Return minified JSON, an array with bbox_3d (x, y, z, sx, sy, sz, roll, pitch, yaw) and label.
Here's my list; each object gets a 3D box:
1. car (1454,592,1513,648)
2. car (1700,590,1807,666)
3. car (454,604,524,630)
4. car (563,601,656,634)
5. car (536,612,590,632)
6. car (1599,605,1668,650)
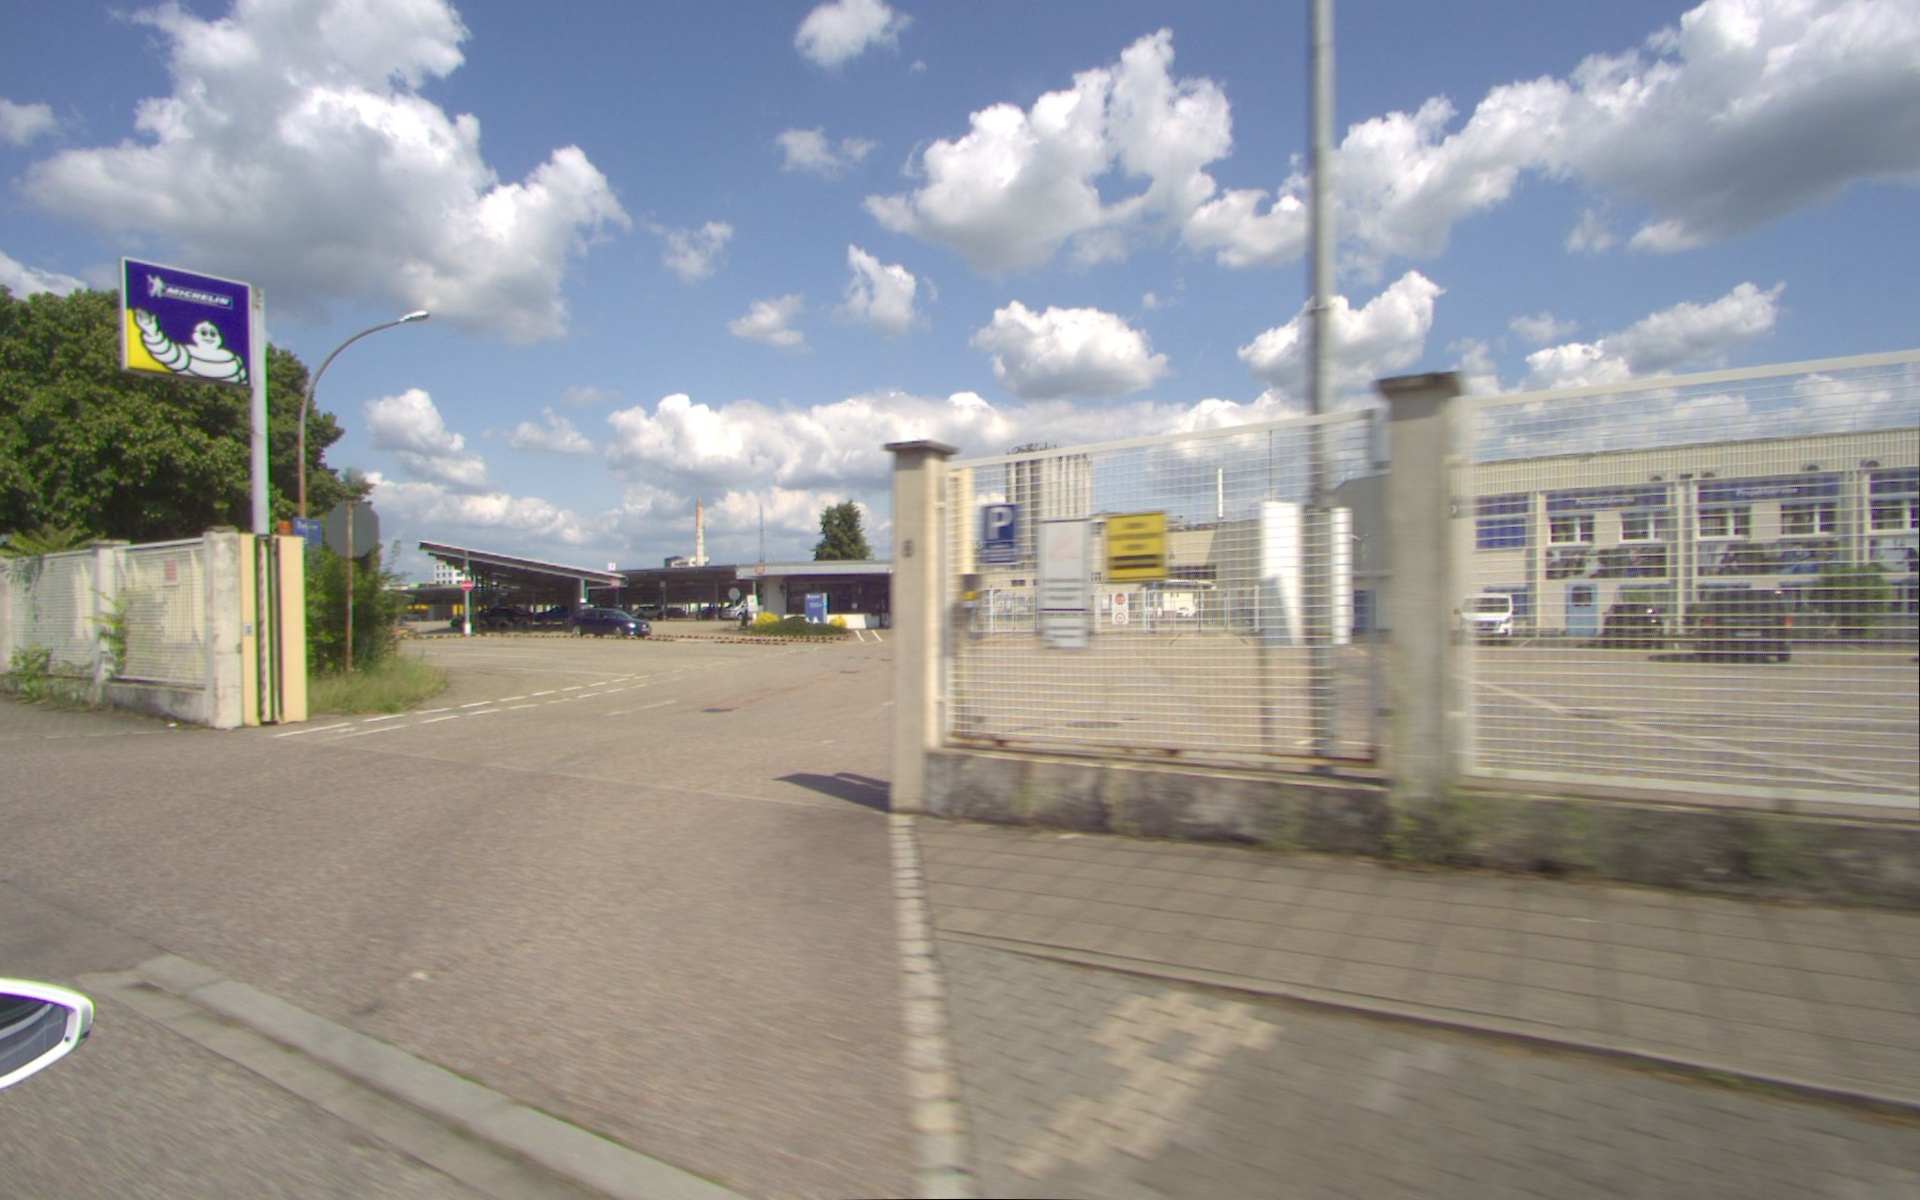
[{"bbox_3d":[21.214,0.779,40.530,1.906,2.060,4.381,-1,1,30],"label":"car"},{"bbox_3d":[21.362,0.703,27.118,1.908,1.878,4.377,-1,0,34],"label":"car"},{"bbox_3d":[-31.440,1.156,66.909,4.165,1.653,1.846,1,-2,-25],"label":"car"},{"bbox_3d":[-17.048,0.899,48.734,3.974,1.537,1.831,-1,-2,18],"label":"car"},{"bbox_3d":[-33.846,1.883,85.369,4.165,1.653,1.846,1,-2,-25],"label":"car"},{"bbox_3d":[24.519,1.039,36.579,1.818,1.529,3.983,-1,-2,31],"label":"car"}]
